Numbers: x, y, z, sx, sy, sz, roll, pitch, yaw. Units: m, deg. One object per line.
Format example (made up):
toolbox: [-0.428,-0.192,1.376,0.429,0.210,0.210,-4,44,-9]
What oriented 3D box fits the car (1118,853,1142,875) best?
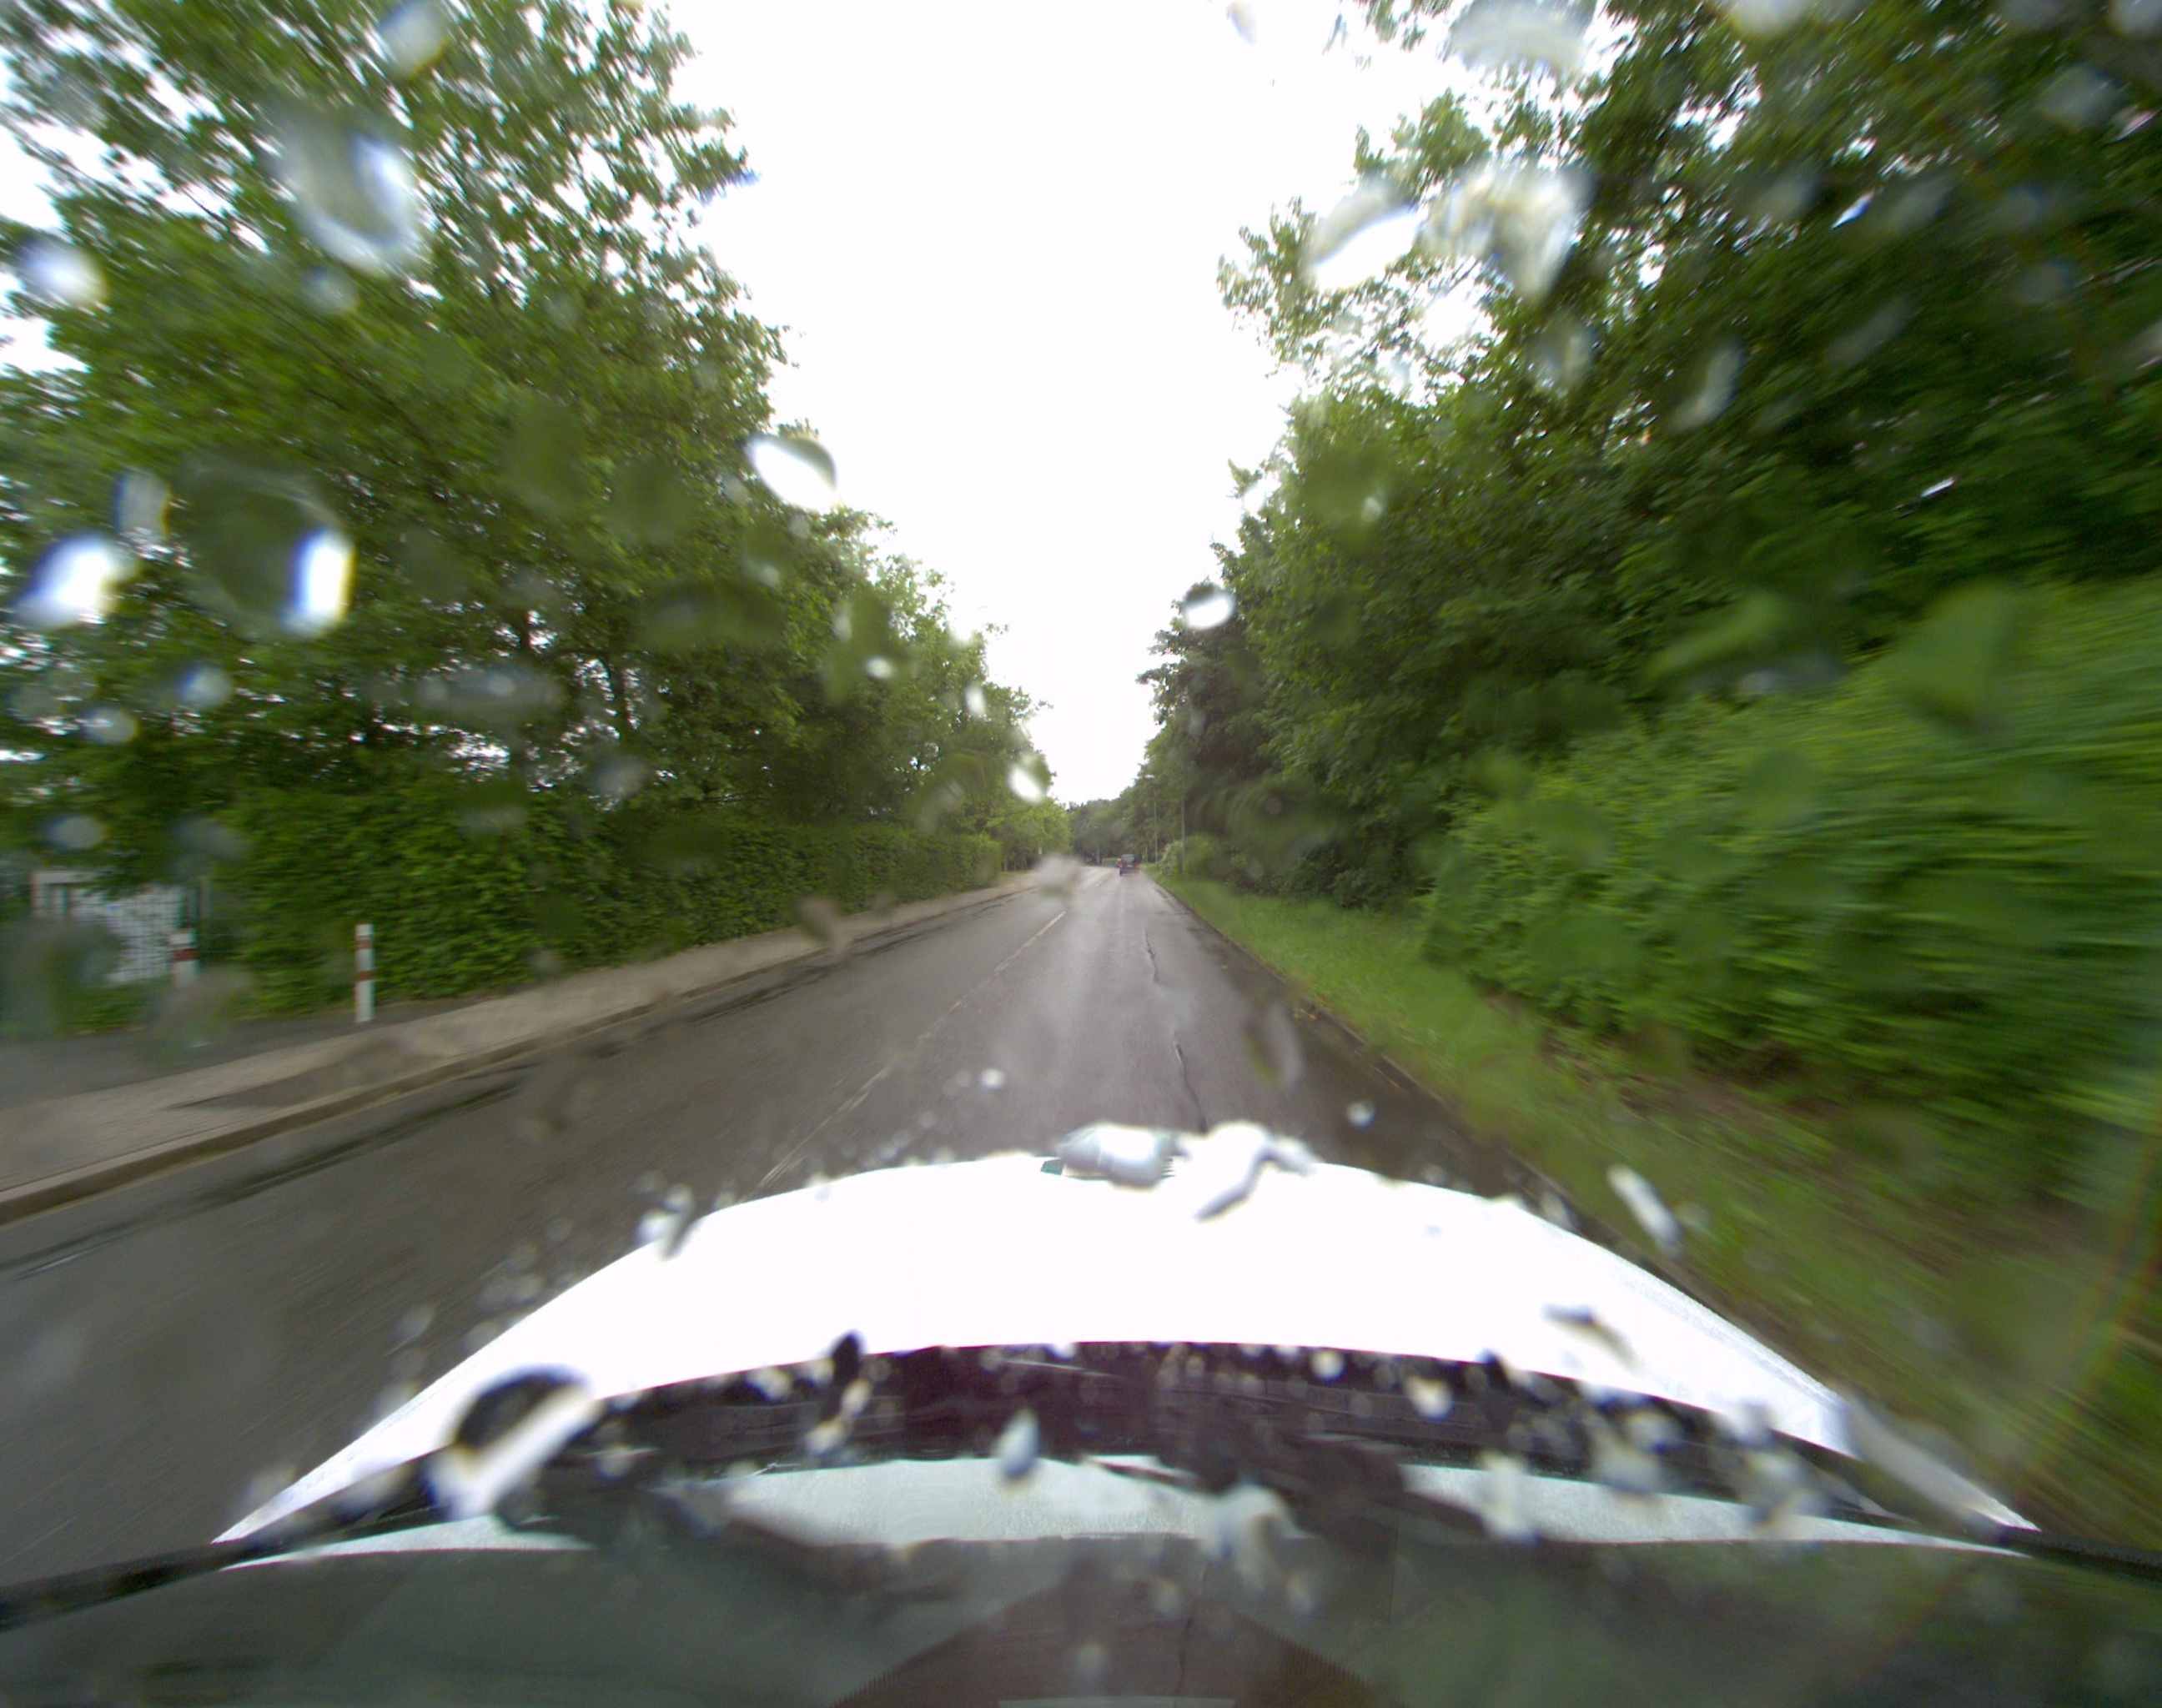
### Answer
car: [4.304,0.879,72.355,1.986,1.793,4.003,2,1,2]

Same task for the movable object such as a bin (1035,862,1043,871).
movable object such as a bin: [-5.425,1.619,105.355,0.670,1.026,0.827,-3,0,-28]

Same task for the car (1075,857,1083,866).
car: [-0.516,1.801,201.311,1.986,2.013,4.001,1,0,1]

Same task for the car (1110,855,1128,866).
car: [6.344,1.026,136.641,1.995,1.772,3.984,-2,0,-12]
